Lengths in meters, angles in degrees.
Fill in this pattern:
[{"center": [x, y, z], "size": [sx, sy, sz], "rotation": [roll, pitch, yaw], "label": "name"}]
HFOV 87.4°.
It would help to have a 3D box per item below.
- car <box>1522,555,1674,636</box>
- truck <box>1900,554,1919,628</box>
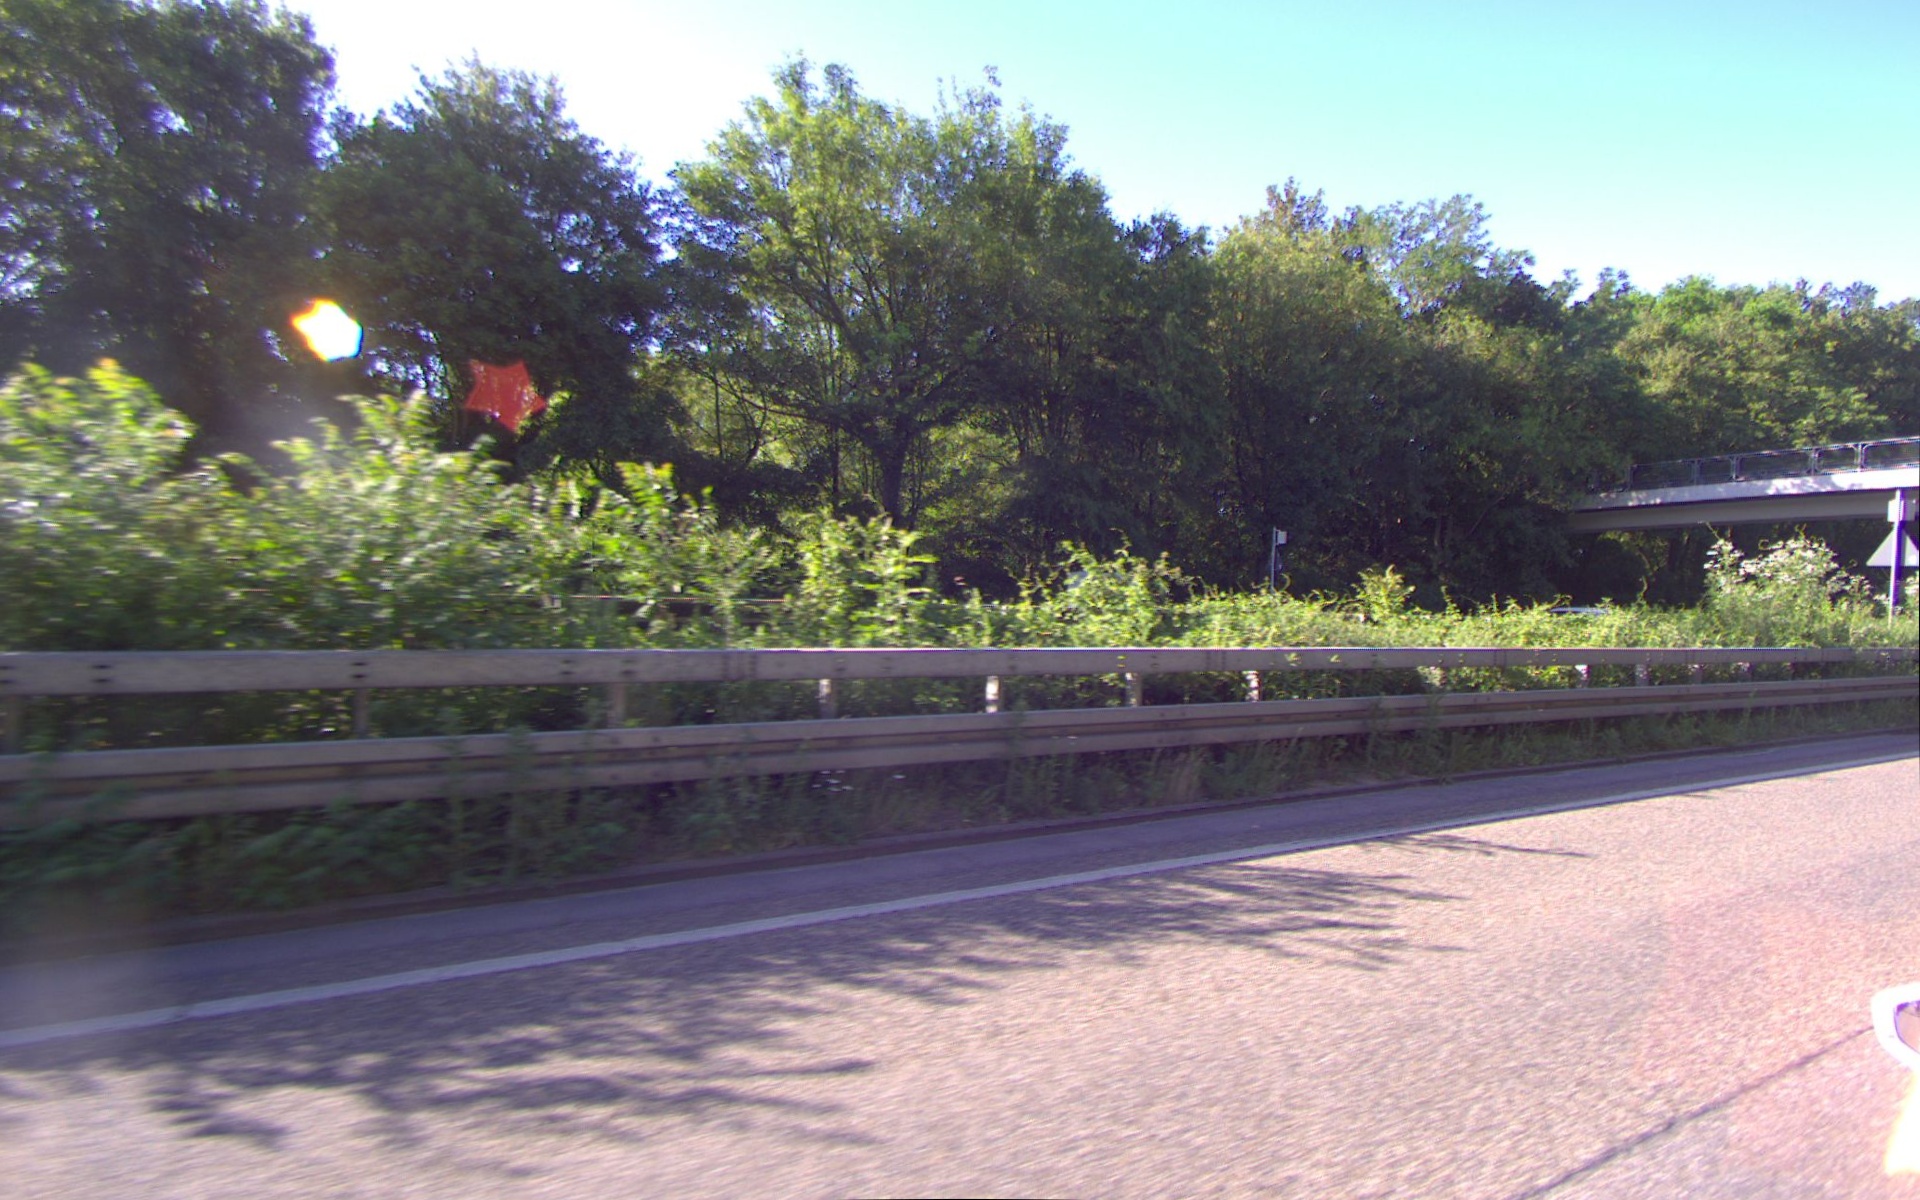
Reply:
[{"center": [17.684, -0.091, 27.826], "size": [3.954, 2.040, 1.984], "rotation": [2, 0, -31], "label": "car"}, {"center": [45.623, -0.306, 45.305], "size": [7.002, 3.210, 2.915], "rotation": [2, 0, -31], "label": "truck"}]
